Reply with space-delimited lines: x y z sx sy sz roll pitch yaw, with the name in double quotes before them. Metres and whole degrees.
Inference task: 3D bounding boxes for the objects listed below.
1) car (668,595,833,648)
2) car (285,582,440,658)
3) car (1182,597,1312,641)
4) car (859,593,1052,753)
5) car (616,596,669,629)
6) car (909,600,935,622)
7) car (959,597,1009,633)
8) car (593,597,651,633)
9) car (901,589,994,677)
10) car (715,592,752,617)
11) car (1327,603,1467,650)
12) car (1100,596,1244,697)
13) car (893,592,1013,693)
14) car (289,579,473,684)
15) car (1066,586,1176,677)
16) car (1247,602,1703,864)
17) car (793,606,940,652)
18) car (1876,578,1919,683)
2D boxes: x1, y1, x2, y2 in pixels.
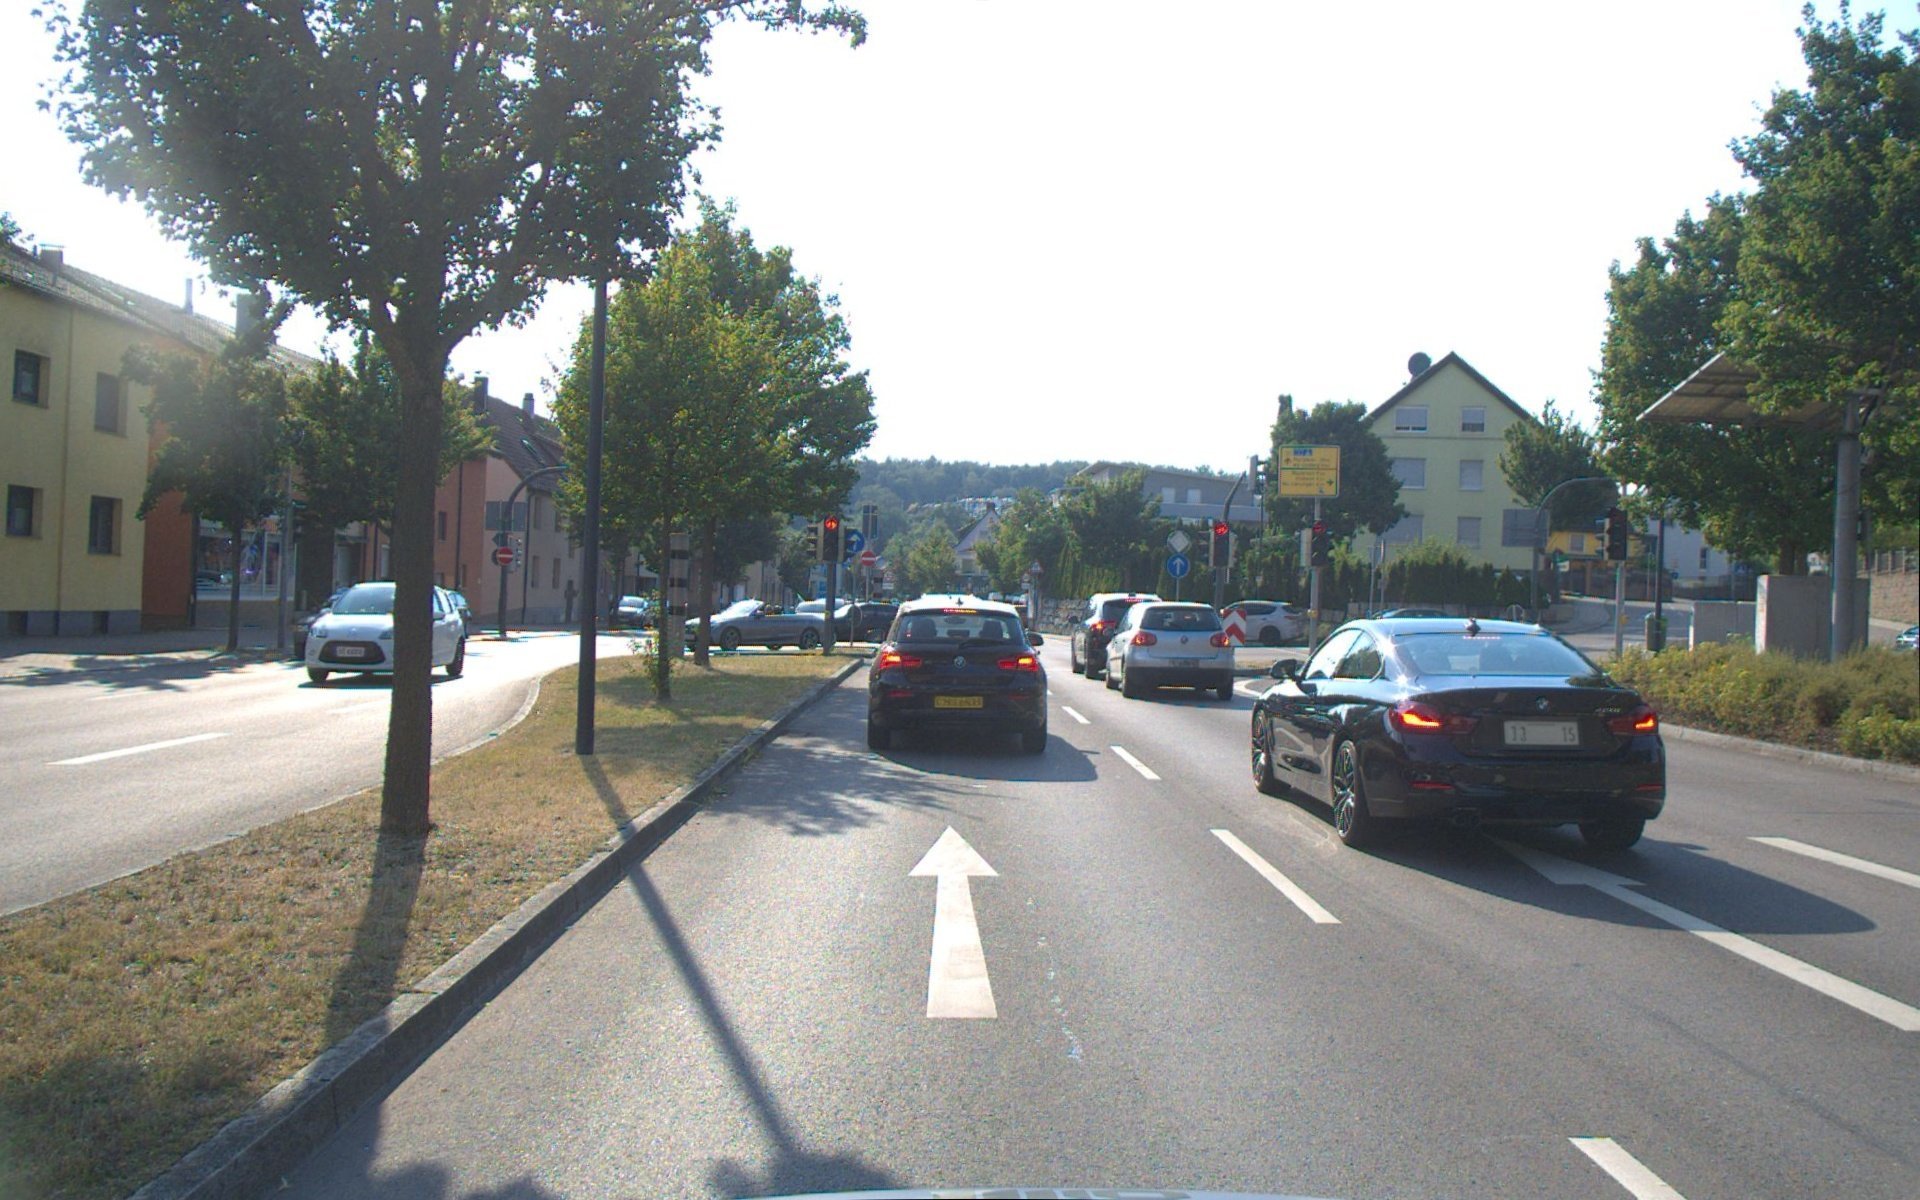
"car" -5.801 0.611 46.130 1.756 1.373 4.447 1 0 44
"car" -12.662 0.392 35.368 1.652 1.488 4.710 1 0 -1
"car" 10.840 0.713 62.508 4.550 1.511 1.867 1 0 23
"car" -0.030 0.674 17.409 1.754 1.439 4.347 1 0 0
"car" -16.285 0.646 85.068 1.884 1.624 4.000 1 0 0
"car" -2.899 0.840 125.772 1.885 1.624 3.999 1 0 -1
"car" 1.148 0.726 81.184 1.854 1.732 4.517 0 0 -7
"car" -16.267 0.710 79.775 1.884 1.624 4.000 1 0 0
"car" -0.238 0.638 34.330 1.779 1.670 4.241 1 0 0
"car" -15.032 0.287 109.901 1.884 1.624 4.000 1 0 0
"car" 14.304 0.866 54.193 4.100 1.411 1.646 1 0 -10
"car" 3.344 0.691 26.862 1.779 1.471 4.347 1 0 0
"car" -0.095 0.641 27.068 1.779 1.476 4.241 1 0 0
"car" -9.151 0.468 26.475 1.765 1.523 3.952 1 0 -4
"car" 3.185 0.591 33.471 1.779 1.695 4.347 1 0 0
"car" 3.240 0.744 11.370 1.779 1.413 4.347 1 0 0
"car" -3.108 0.969 55.310 4.581 1.446 1.830 1 0 -31
"car" 17.027 0.530 26.312 3.902 1.636 1.855 1 0 11
